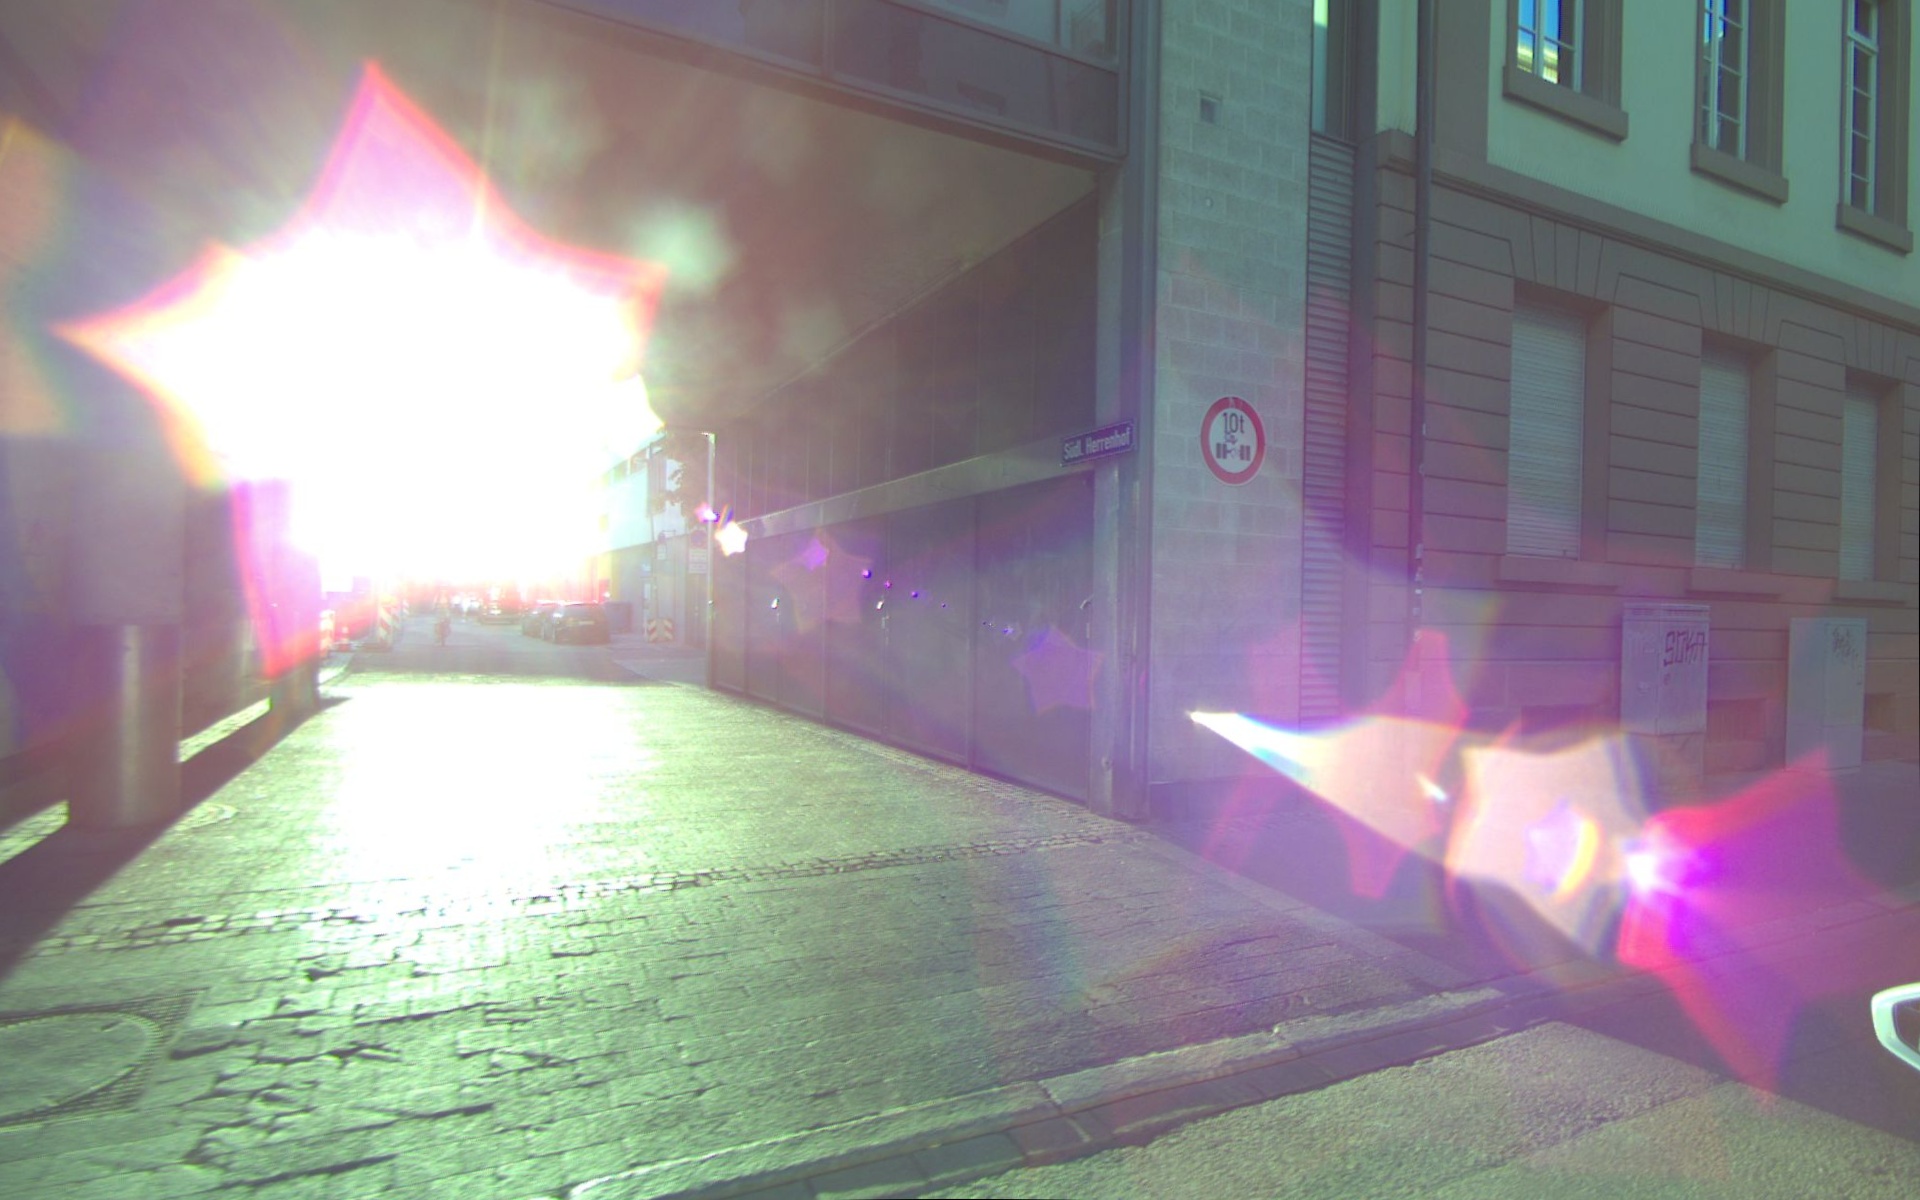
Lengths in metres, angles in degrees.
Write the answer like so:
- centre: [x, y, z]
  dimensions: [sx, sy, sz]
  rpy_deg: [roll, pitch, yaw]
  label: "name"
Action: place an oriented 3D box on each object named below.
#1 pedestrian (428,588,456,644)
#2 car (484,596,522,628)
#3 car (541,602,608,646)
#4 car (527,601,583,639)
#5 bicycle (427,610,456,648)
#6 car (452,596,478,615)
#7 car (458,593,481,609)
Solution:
- centre: [-15.725, 0.490, 30.471]
  dimensions: [0.647, 1.656, 0.796]
  rpy_deg: [1, 0, -33]
  label: "pedestrian"
- centre: [-25.515, 0.648, 56.026]
  dimensions: [1.695, 1.724, 3.884]
  rpy_deg: [0, 0, -28]
  label: "car"
- centre: [-13.465, 0.787, 34.995]
  dimensions: [1.695, 1.434, 3.884]
  rpy_deg: [0, 0, -28]
  label: "car"
- centre: [-16.289, 0.776, 40.304]
  dimensions: [1.695, 1.434, 3.884]
  rpy_deg: [0, 0, -28]
  label: "car"
- centre: [-15.728, 0.862, 30.469]
  dimensions: [0.597, 1.076, 2.005]
  rpy_deg: [1, -1, -32]
  label: "bicycle"
- centre: [-38.265, 0.432, 77.640]
  dimensions: [1.695, 1.434, 3.884]
  rpy_deg: [0, 0, -28]
  label: "car"
- centre: [-43.821, 0.110, 89.777]
  dimensions: [1.695, 1.434, 3.884]
  rpy_deg: [0, 0, -28]
  label: "car"
